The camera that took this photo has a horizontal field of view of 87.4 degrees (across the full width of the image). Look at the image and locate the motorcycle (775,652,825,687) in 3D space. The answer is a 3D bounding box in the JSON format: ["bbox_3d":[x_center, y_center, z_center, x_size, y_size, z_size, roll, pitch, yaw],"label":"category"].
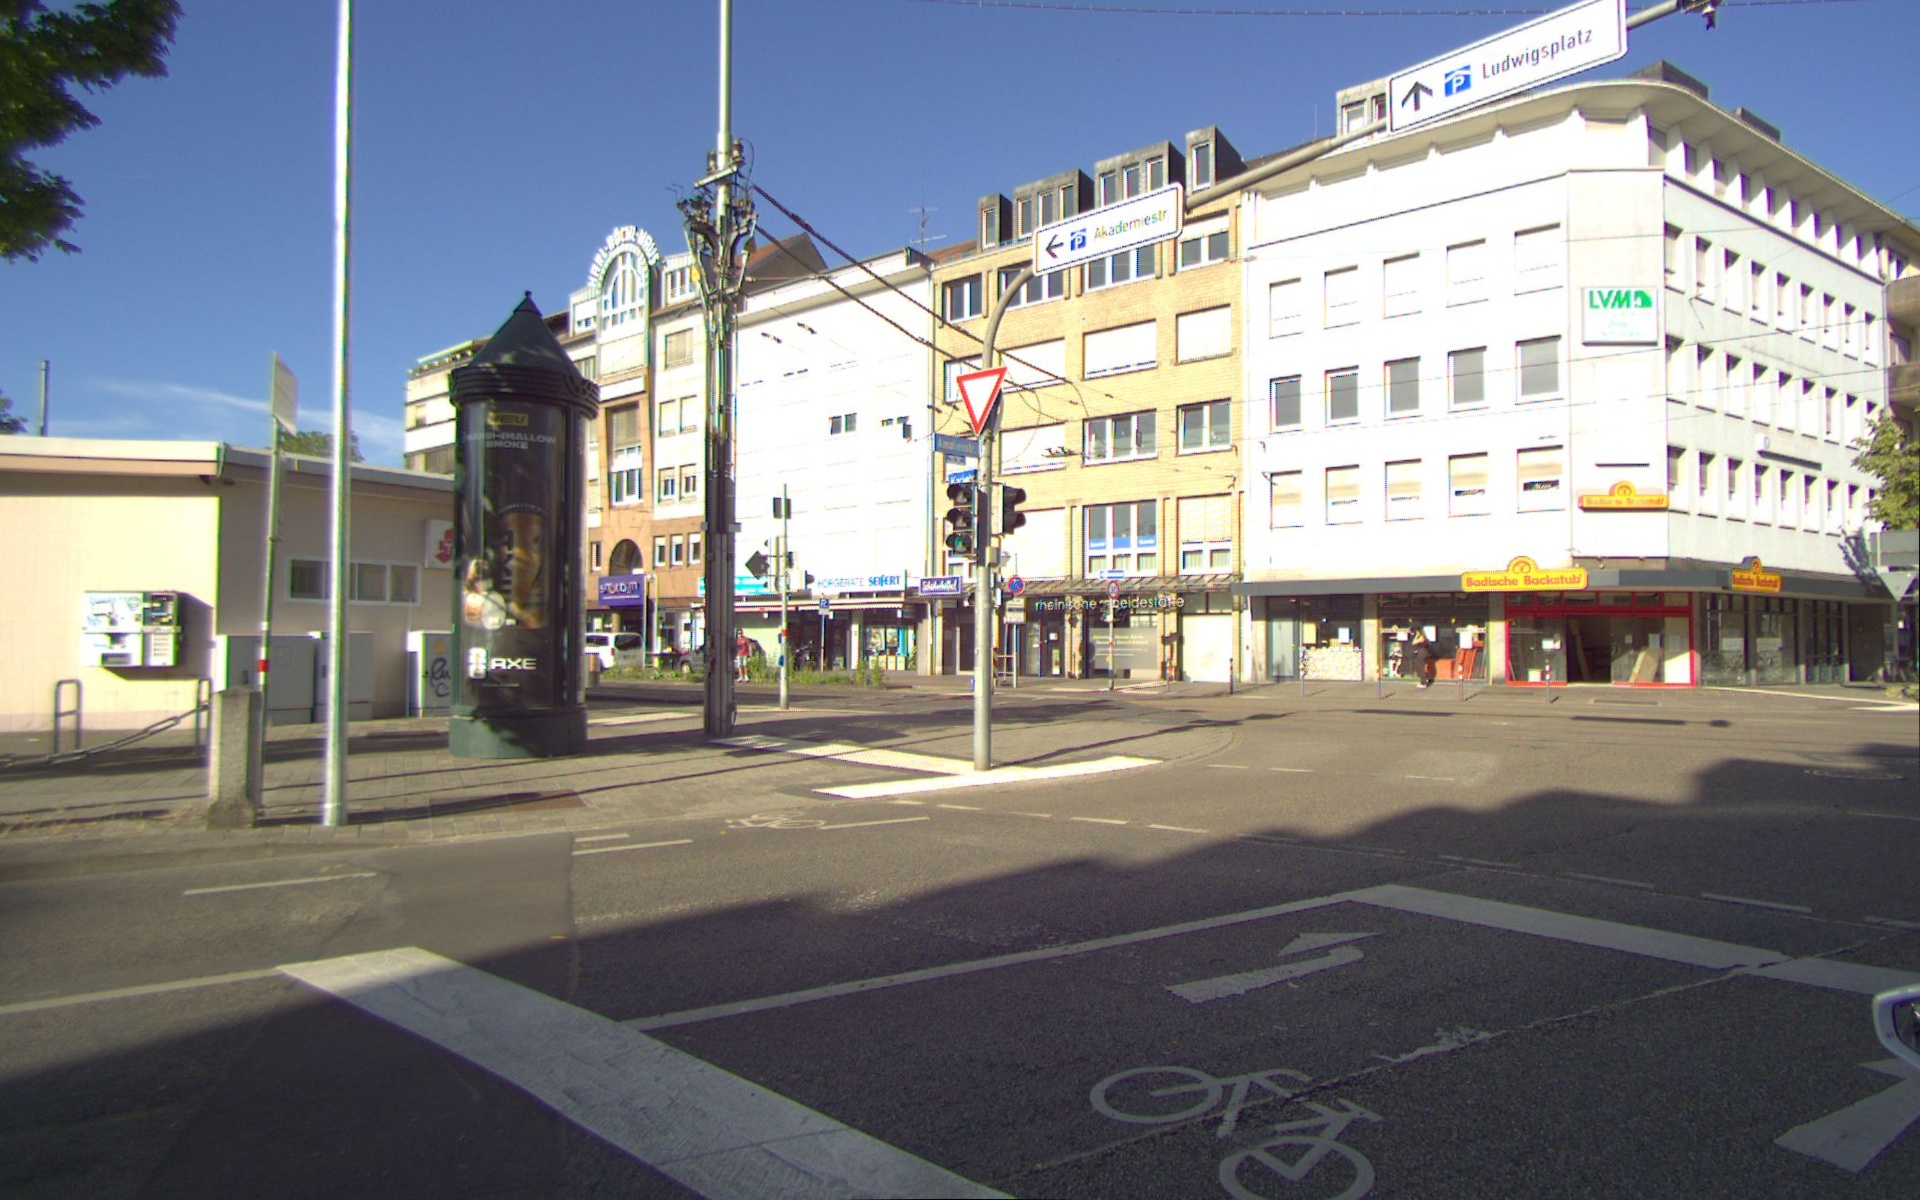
[{"bbox_3d":[-7.209,3.108,45.456,0.983,1.525,2.250,-1,-3,33],"label":"motorcycle"}]

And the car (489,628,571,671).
[{"bbox_3d":[-21.370,2.458,49.890,3.935,2.040,1.993,-1,-3,36],"label":"car"}]

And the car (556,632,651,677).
[{"bbox_3d":[-16.790,2.522,47.211,4.768,2.040,1.992,-2,-3,39],"label":"car"}]

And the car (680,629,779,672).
[{"bbox_3d":[-9.771,2.117,42.508,3.935,1.728,1.993,-1,-3,36],"label":"car"}]

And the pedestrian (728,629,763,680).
[{"bbox_3d":[-7.199,1.823,33.724,0.899,1.685,0.946,0,-2,6],"label":"pedestrian"}]

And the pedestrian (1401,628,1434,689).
[{"bbox_3d":[13.159,1.676,28.889,0.705,1.731,0.555,2,-3,-33],"label":"pedestrian"}]
